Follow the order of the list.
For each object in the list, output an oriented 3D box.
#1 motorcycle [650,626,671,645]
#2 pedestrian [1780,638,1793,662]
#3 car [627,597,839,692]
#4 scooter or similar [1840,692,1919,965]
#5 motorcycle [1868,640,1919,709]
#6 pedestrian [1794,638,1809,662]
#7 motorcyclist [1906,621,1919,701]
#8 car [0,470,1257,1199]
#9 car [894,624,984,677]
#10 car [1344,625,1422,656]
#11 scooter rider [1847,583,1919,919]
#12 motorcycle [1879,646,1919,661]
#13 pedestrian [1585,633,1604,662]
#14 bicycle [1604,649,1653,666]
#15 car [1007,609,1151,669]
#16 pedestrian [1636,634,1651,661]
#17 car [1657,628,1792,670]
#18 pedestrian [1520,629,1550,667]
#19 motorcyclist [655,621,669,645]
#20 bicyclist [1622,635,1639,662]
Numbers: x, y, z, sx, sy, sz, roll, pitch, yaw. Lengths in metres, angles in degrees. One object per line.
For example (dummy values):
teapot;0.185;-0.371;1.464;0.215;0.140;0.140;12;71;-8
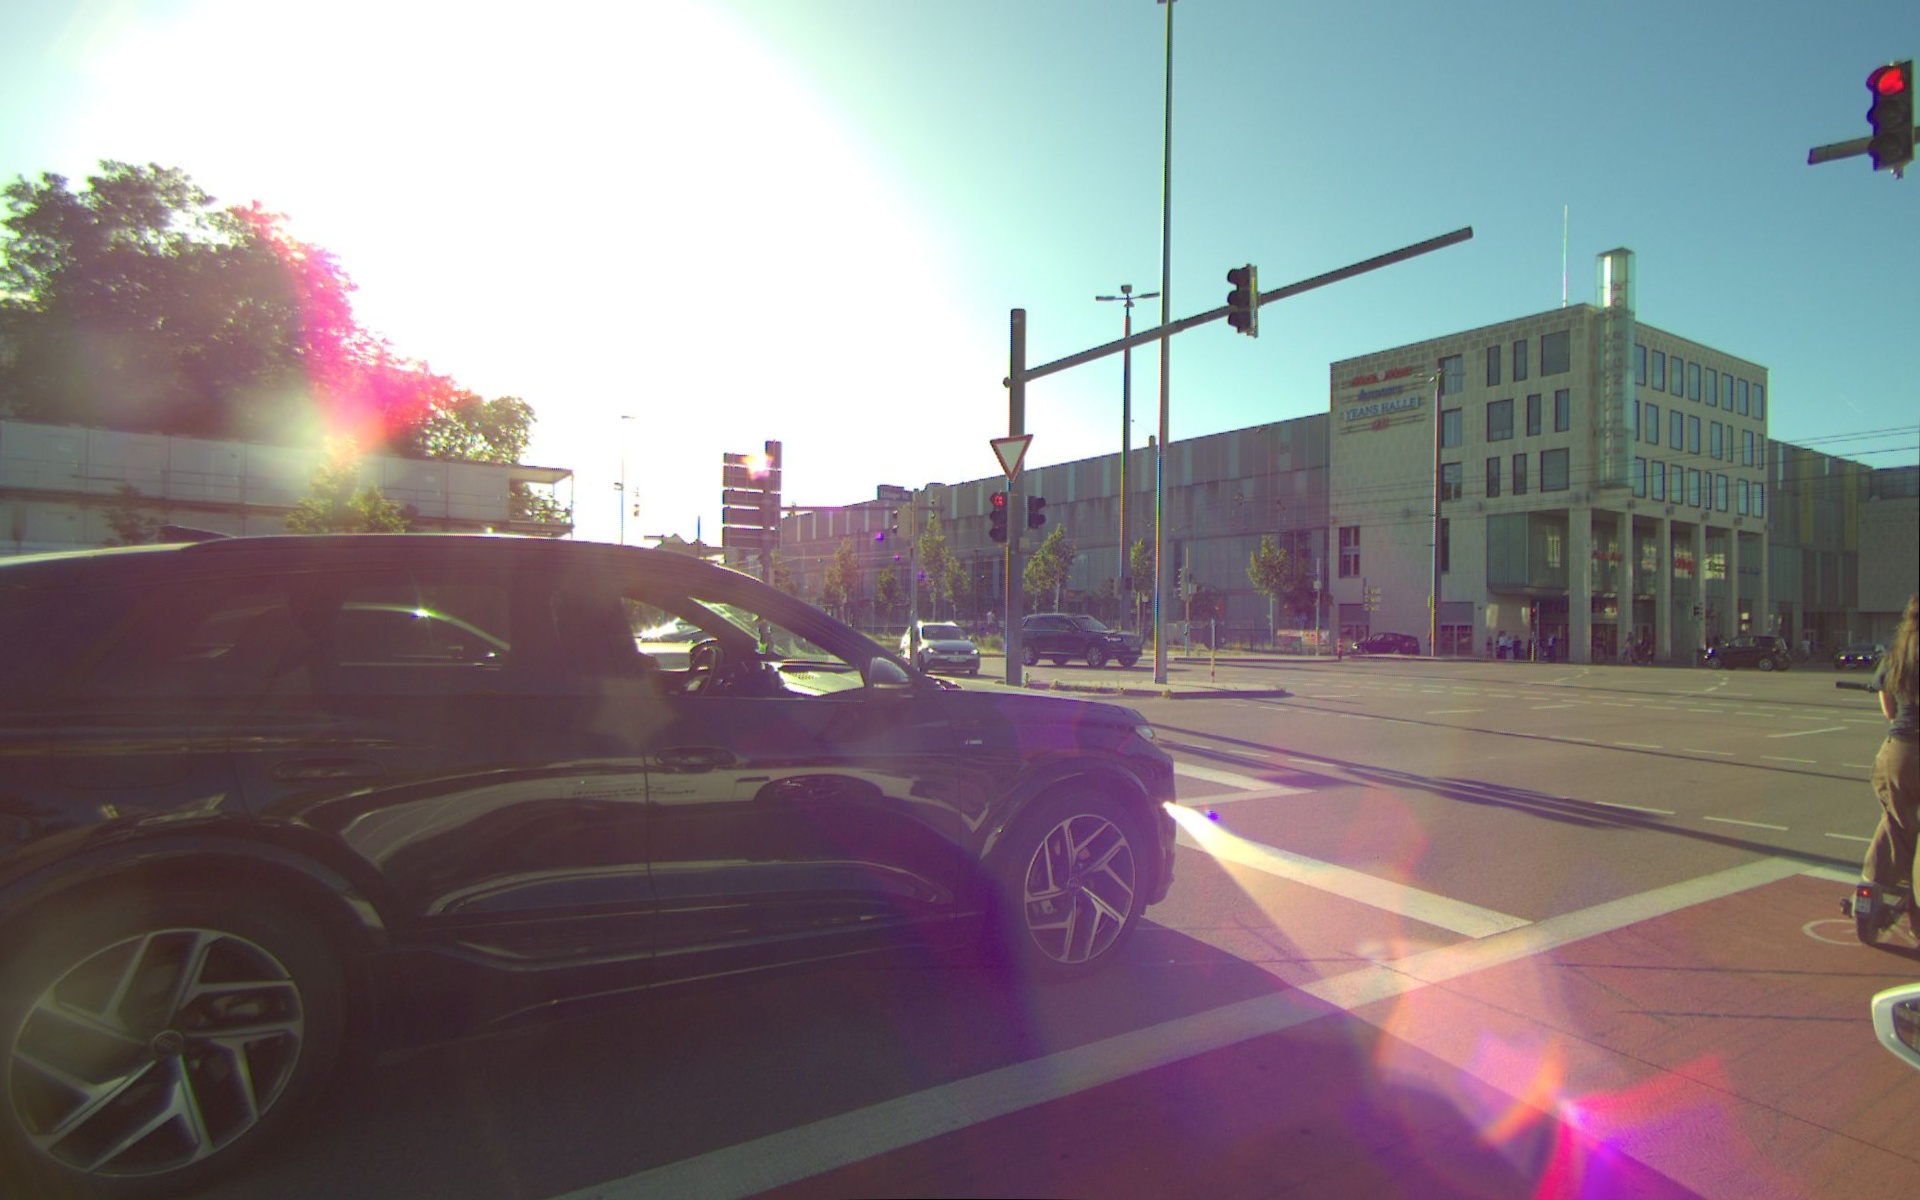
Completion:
motorcycle;-18.654;2.212;62.566;0.643;1.115;1.940;1;-1;-37
pedestrian;62.949;3.812;76.494;0.616;1.752;0.471;2;0;-1
car;-5.040;0.972;23.054;1.855;1.947;4.920;0;-2;31
scooter or similar;4.365;1.017;4.677;0.832;1.122;0.303;2;-1;-42
motorcycle;18.137;1.368;18.091;0.724;1.224;2.573;0;-1;-39
pedestrian;61.698;3.652;73.657;0.681;1.752;0.472;2;0;9
motorcyclist;17.836;1.112;18.411;0.642;1.442;0.651;0;0;-40
car;-1.234;0.606;4.074;4.612;1.729;2.154;1;0;-32
car;-0.683;1.415;28.924;1.700;1.395;3.931;1;-1;-15
car;24.546;2.342;58.408;1.741;1.706;3.967;1;-1;-30
scooter rider;4.619;0.700;4.761;0.445;1.550;0.548;1;-1;-38
motorcycle;70.620;4.020;75.188;1.106;1.006;2.582;2;0;-38
pedestrian;42.160;3.165;66.743;0.529;1.889;0.943;1;-1;-13
bicycle;37.257;3.192;55.993;2.173;0.915;0.638;0;-1;11
car;3.941;1.262;33.835;1.873;1.888;4.771;2;-2;-43
pedestrian;42.089;2.934;61.836;0.622;1.667;0.589;1;-1;-30
car;33.445;2.109;44.047;1.805;1.706;4.379;1;-2;-32
pedestrian;26.165;2.189;45.701;0.994;1.697;0.818;1;-1;-33
motorcyclist;-18.469;2.031;62.324;0.594;1.499;0.744;1;-1;-37
bicyclist;37.363;2.678;55.970;0.577;1.467;0.628;0;-1;12
